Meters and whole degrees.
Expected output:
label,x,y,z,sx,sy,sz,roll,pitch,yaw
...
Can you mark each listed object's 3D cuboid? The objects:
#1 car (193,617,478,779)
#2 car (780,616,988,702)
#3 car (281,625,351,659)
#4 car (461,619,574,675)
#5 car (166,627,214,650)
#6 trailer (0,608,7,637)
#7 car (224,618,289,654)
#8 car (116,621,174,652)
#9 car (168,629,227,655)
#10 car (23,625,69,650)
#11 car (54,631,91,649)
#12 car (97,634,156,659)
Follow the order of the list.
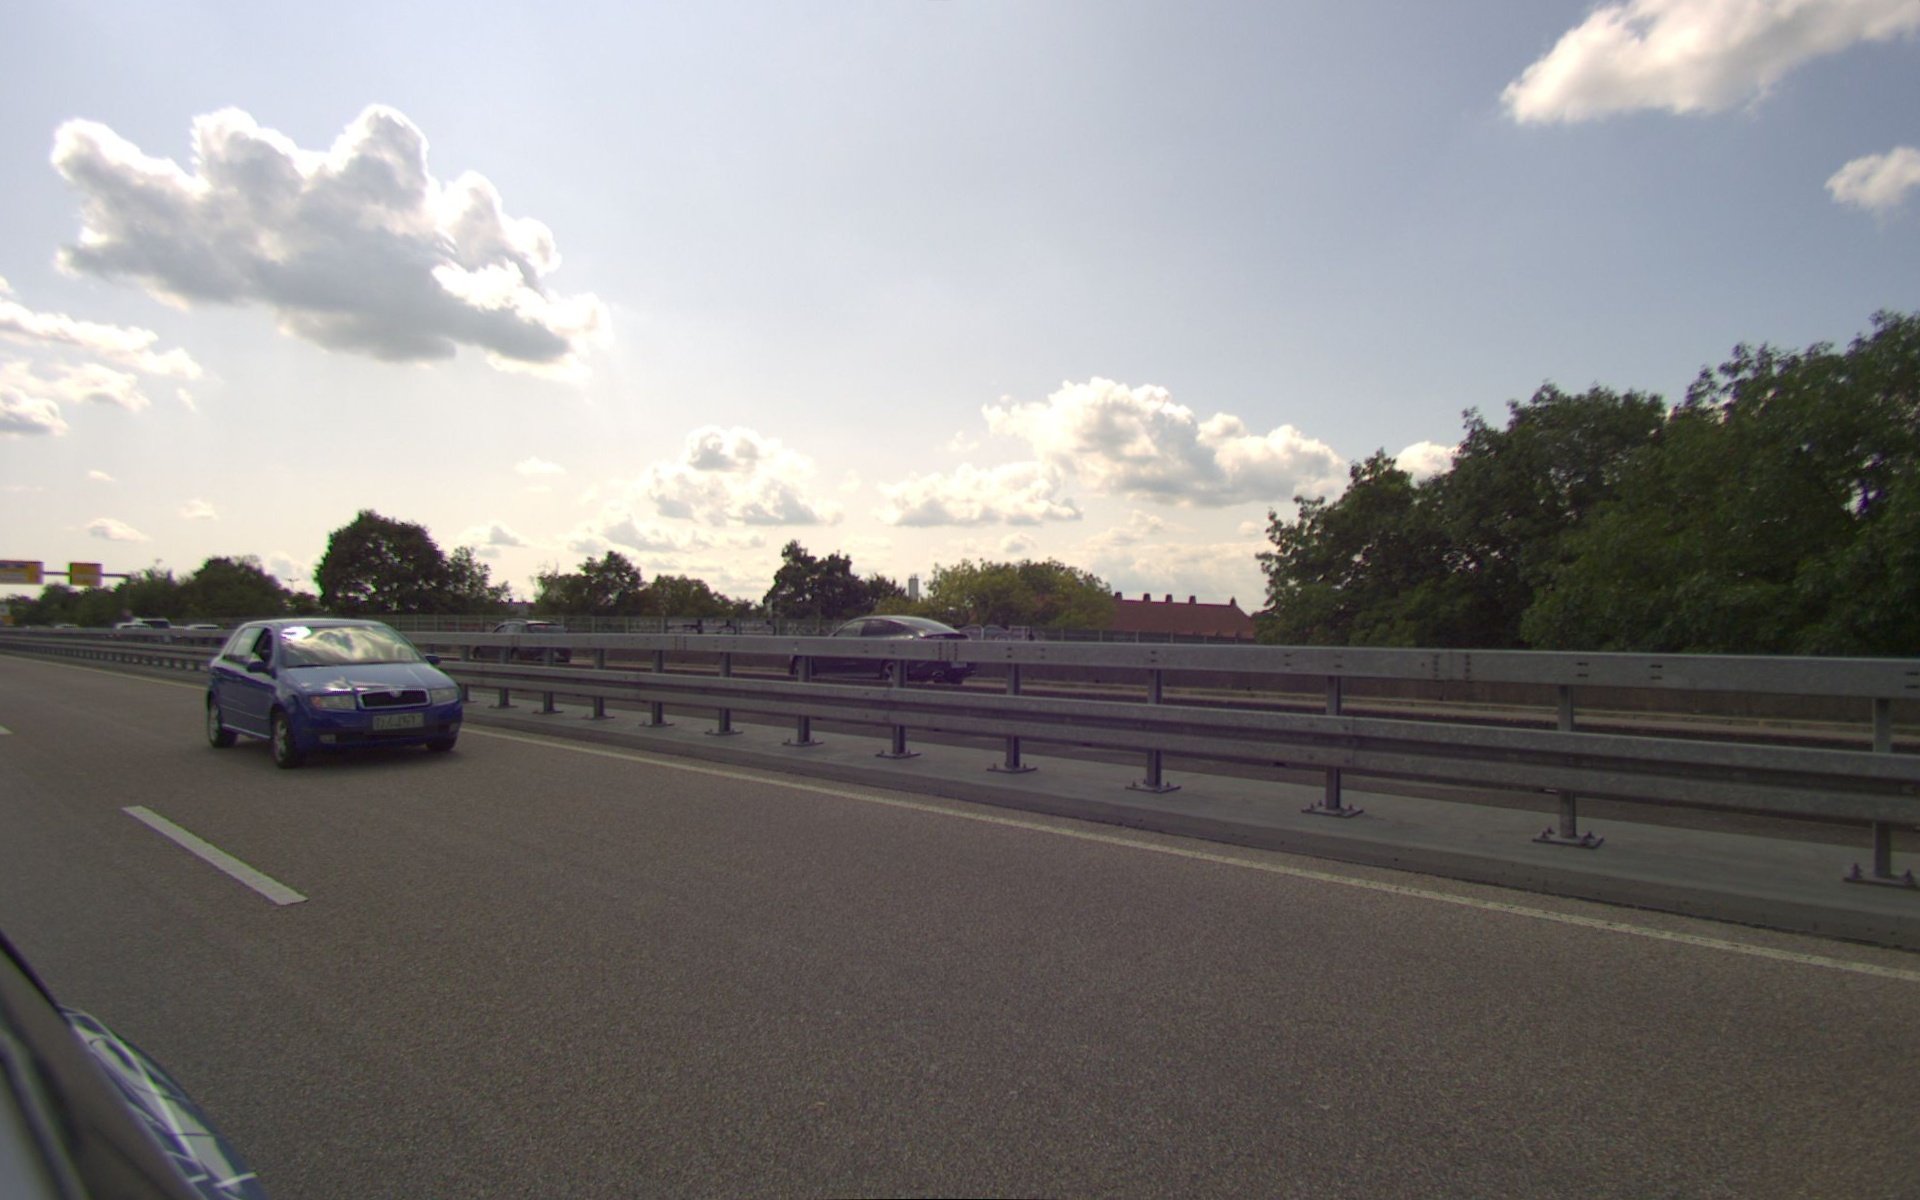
label,x,y,z,sx,sy,sz,roll,pitch,yaw
car,-6.840,0.917,10.938,3.770,1.422,1.604,-1,0,42
car,-1.735,1.216,22.158,4.508,1.652,1.872,-1,0,39
car,-29.311,1.900,46.019,3.627,1.486,1.582,-1,-4,39
car,-14.311,1.461,32.636,3.998,1.651,1.803,-1,0,41
car,-57.428,2.852,75.478,4.279,1.586,1.904,-2,-2,40
trailer,-126.081,2.975,131.289,11.024,3.697,2.656,-1,0,42
car,-36.102,1.855,51.897,4.406,1.724,1.566,-3,-1,39
car,-55.063,2.471,68.317,5.185,1.940,1.941,-2,-1,39
car,-43.812,2.413,58.125,4.043,1.400,1.767,-3,-1,39
car,-61.311,2.484,67.881,4.056,1.583,1.659,-1,0,39
car,-81.339,3.689,92.716,4.279,1.586,1.904,-2,-2,40
car,-42.752,2.358,51.874,3.998,1.194,1.664,-1,0,41
